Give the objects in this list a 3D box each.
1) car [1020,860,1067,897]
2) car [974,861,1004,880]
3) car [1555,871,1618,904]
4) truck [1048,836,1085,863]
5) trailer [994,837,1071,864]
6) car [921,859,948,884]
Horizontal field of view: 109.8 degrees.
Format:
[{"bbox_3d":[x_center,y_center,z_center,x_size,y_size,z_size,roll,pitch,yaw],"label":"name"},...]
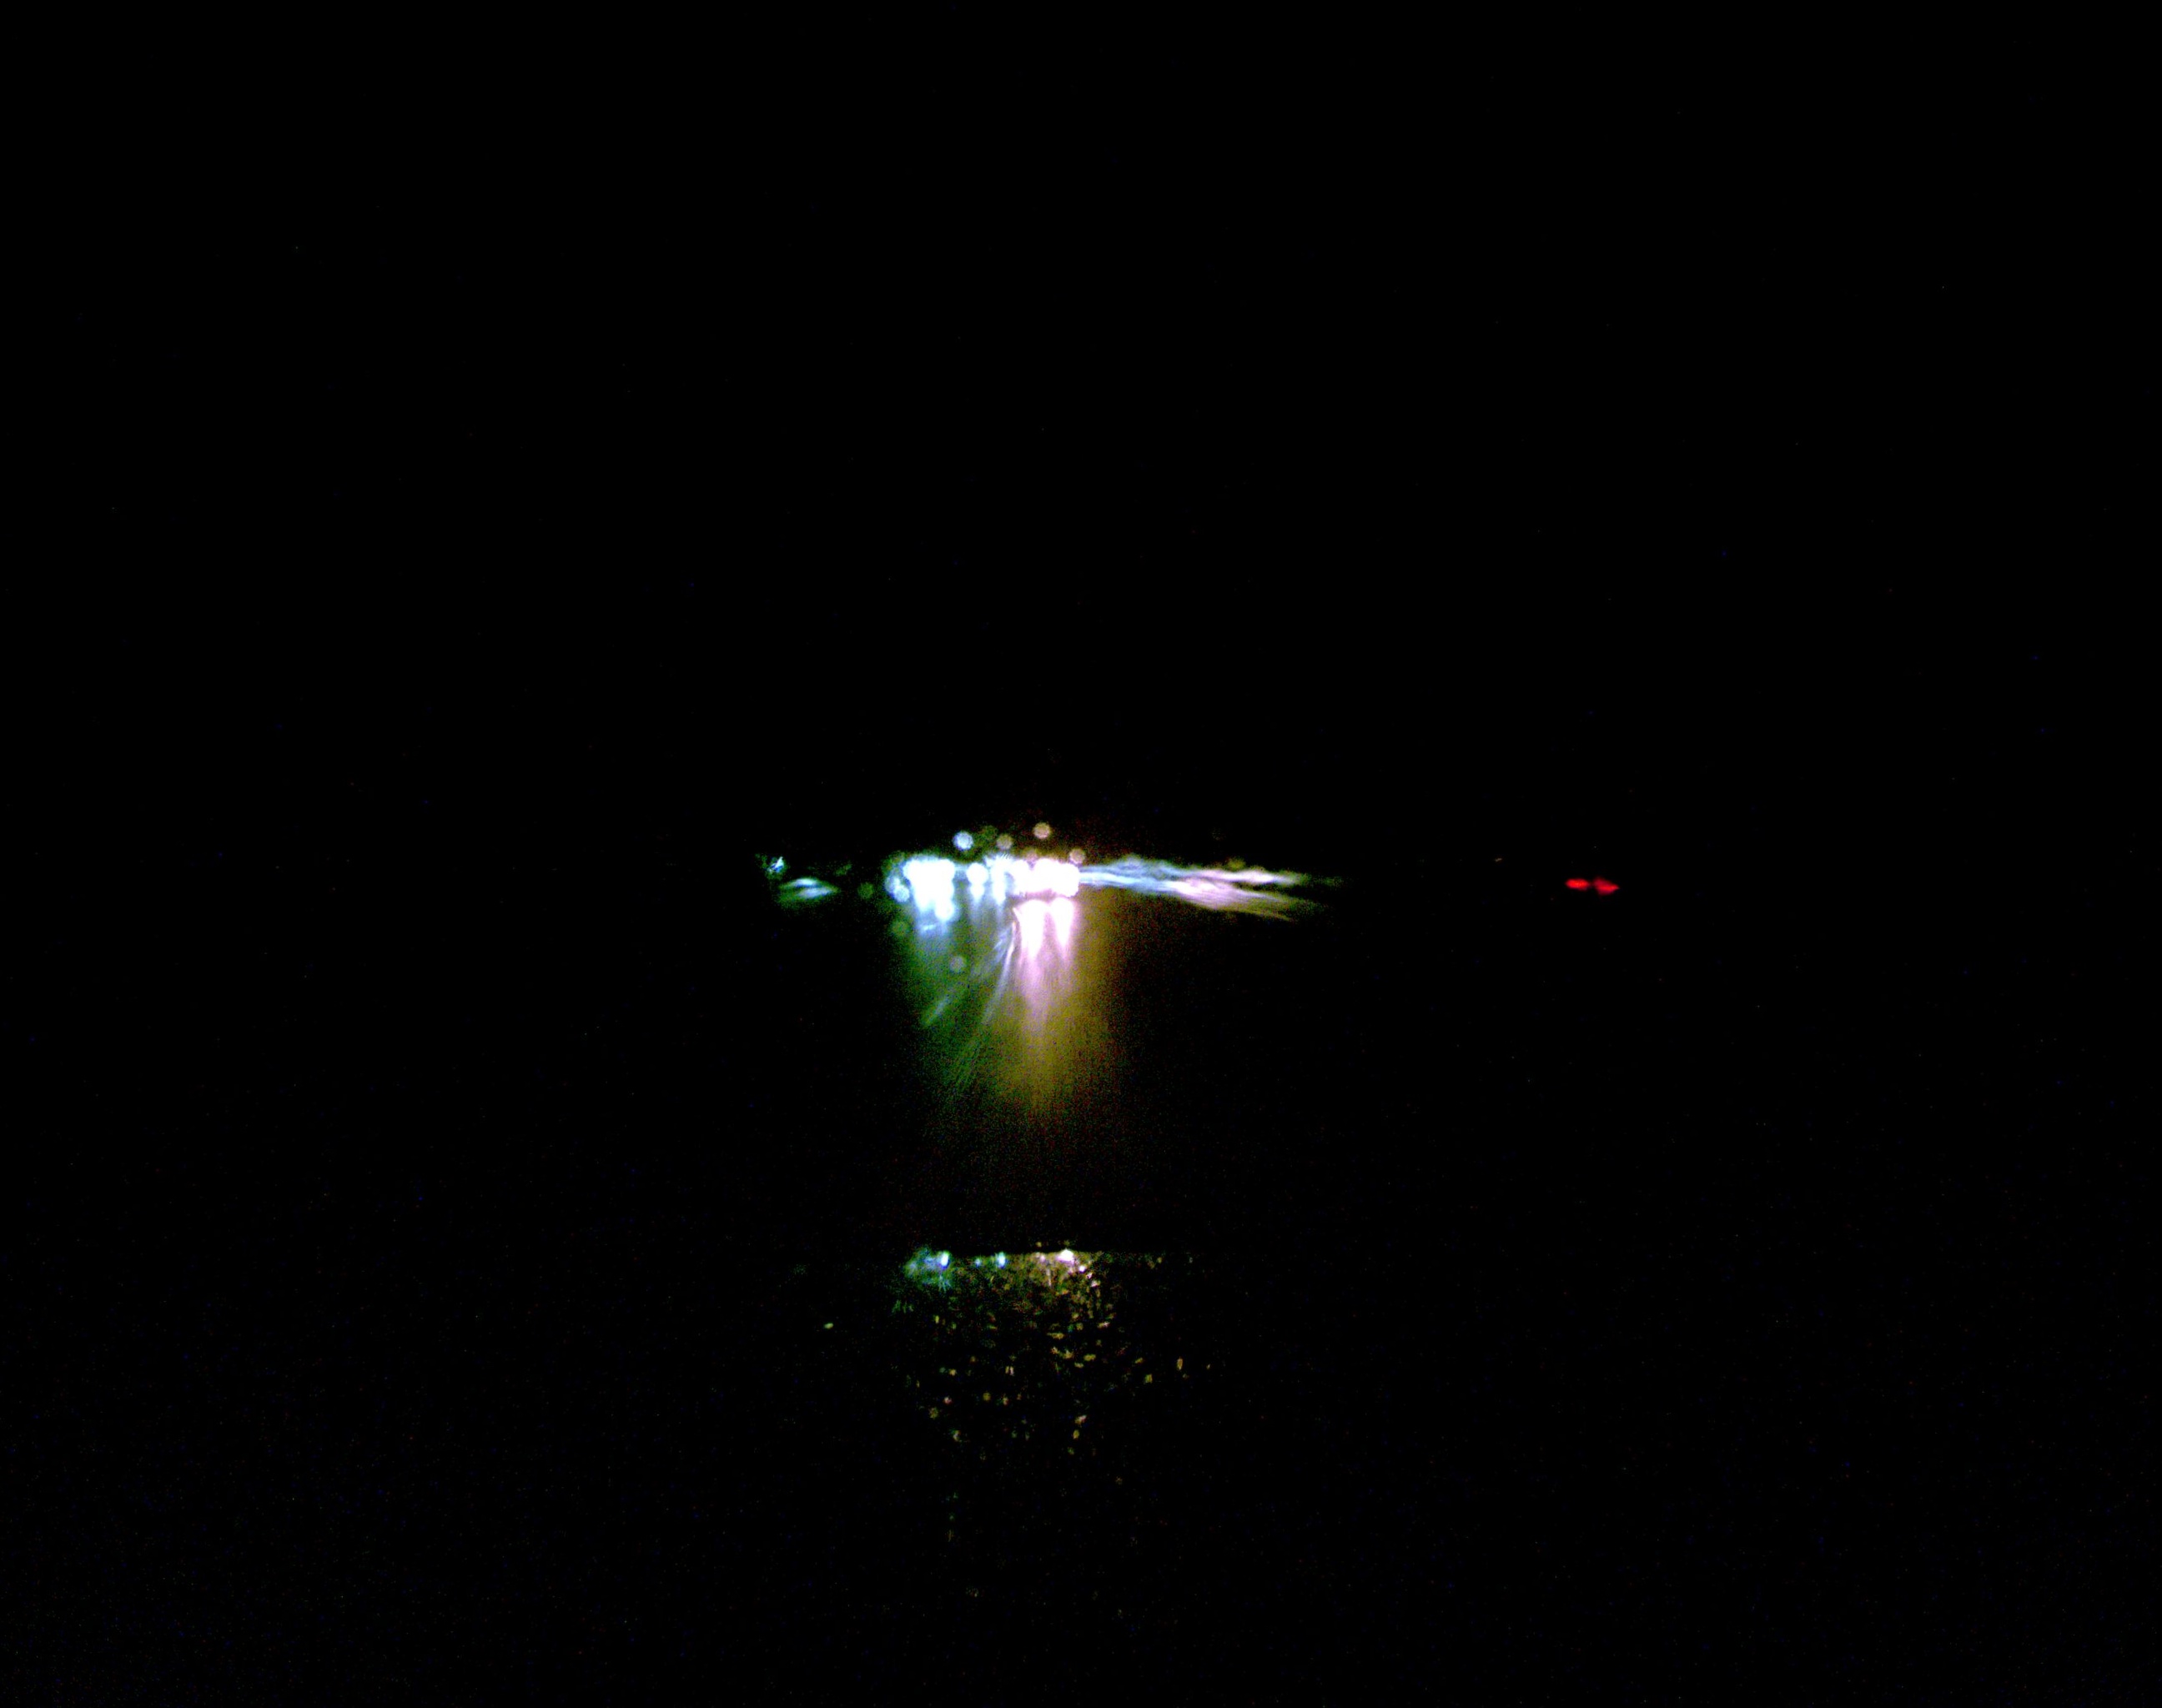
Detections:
[{"bbox_3d":[-1.586,1.024,33.545,1.686,1.442,3.642,-3,0,2],"label":"car"},{"bbox_3d":[-6.925,1.217,56.942,1.762,1.304,4.081,-1,0,-13],"label":"car"},{"bbox_3d":[26.240,1.709,39.580,1.728,1.390,3.933,2,2,18],"label":"car"},{"bbox_3d":[-2.422,-0.761,127.044,5.549,4.312,2.544,-1,2,28],"label":"truck"},{"bbox_3d":[-8.477,-0.624,130.213,13.674,4.312,2.544,-1,2,28],"label":"trailer"},{"bbox_3d":[-10.377,1.223,54.011,1.742,1.674,4.117,-3,0,-11],"label":"car"}]
